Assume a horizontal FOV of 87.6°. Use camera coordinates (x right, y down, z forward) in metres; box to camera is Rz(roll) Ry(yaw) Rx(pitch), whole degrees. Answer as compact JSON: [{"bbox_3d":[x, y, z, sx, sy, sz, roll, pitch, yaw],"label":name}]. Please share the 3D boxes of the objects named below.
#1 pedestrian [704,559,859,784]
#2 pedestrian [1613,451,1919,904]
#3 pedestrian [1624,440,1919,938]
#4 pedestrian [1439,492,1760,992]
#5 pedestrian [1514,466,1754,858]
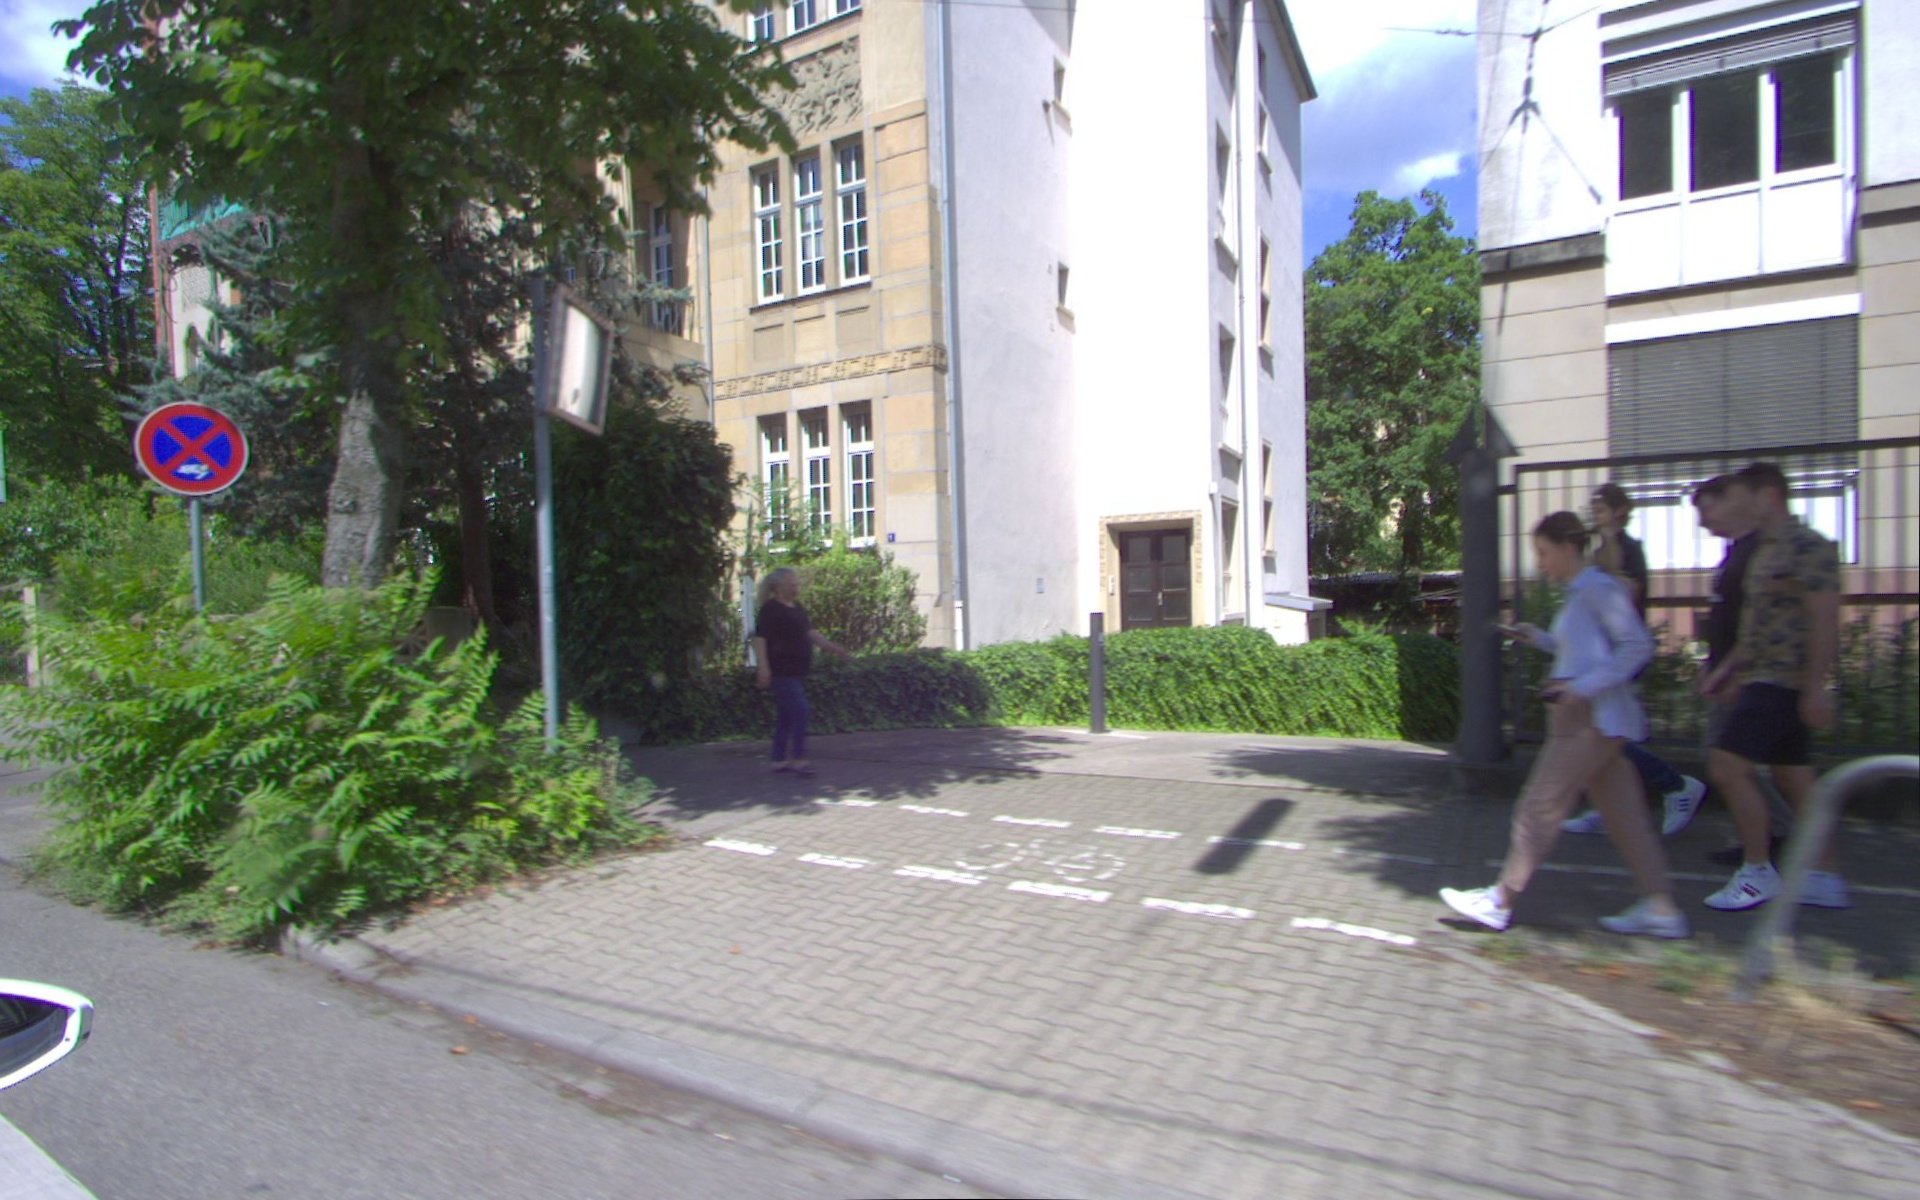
[{"bbox_3d":[-1.413,0.532,8.001,0.824,1.668,0.855,-1,2,32],"label":"pedestrian"},{"bbox_3d":[3.590,0.310,4.500,1.036,1.785,0.786,-1,1,30],"label":"pedestrian"},{"bbox_3d":[3.313,0.325,4.084,0.932,1.800,0.704,-1,2,28],"label":"pedestrian"},{"bbox_3d":[2.440,0.479,3.915,0.959,1.673,0.765,-1,1,30],"label":"pedestrian"},{"bbox_3d":[3.440,0.297,5.200,0.962,1.836,0.660,-1,2,28],"label":"pedestrian"}]
